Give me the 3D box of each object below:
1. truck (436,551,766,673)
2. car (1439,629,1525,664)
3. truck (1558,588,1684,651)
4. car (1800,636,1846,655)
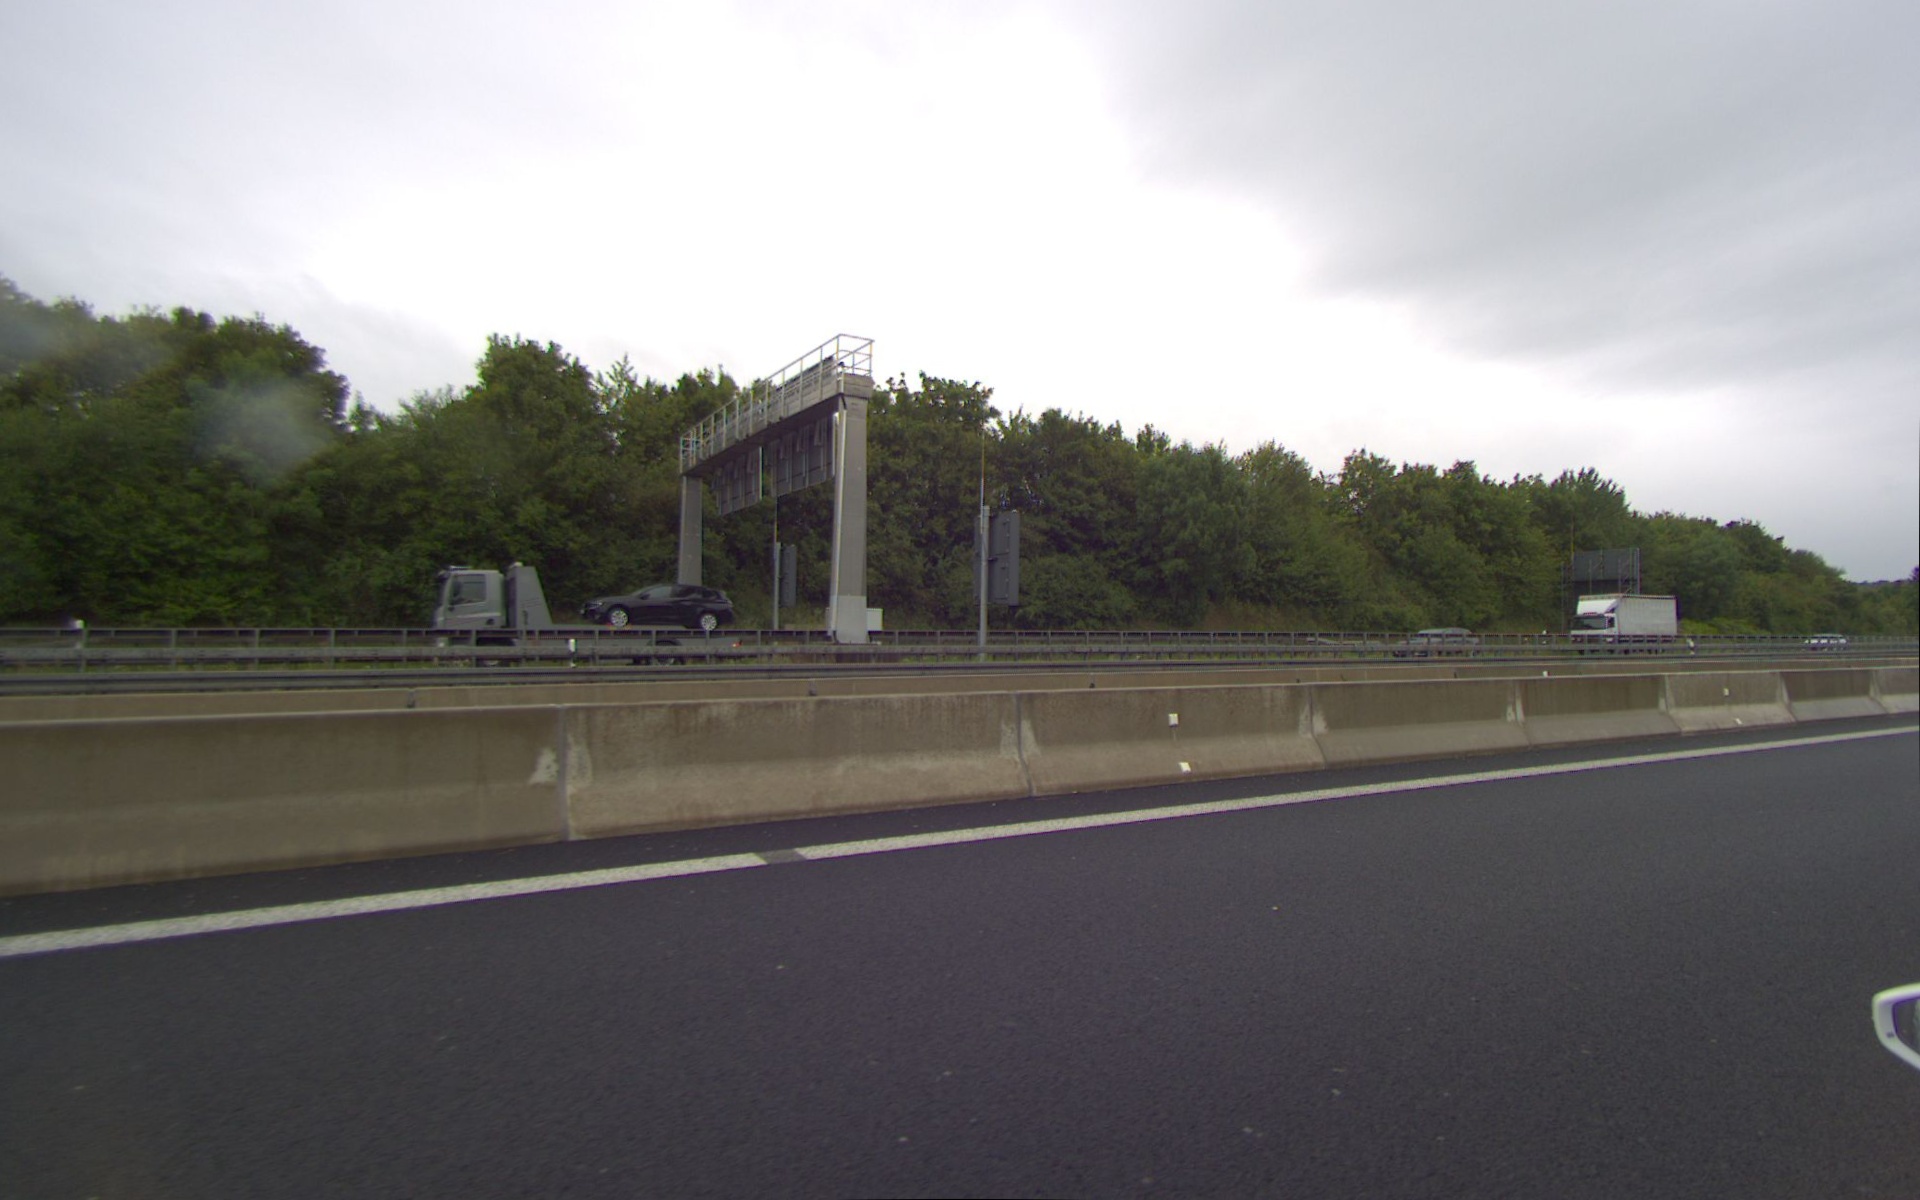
[{"bbox_3d":[-10.670,0.432,30.300,8.973,3.263,2.837,2,0,-30],"label":"truck"},{"bbox_3d":[24.016,2.138,46.168,3.954,1.475,1.667,2,0,-31],"label":"car"},{"bbox_3d":[44.190,1.333,67.040,9.522,3.930,3.059,2,0,-30],"label":"truck"},{"bbox_3d":[70.528,3.732,82.119,3.954,1.475,1.667,2,0,-31],"label":"car"}]
